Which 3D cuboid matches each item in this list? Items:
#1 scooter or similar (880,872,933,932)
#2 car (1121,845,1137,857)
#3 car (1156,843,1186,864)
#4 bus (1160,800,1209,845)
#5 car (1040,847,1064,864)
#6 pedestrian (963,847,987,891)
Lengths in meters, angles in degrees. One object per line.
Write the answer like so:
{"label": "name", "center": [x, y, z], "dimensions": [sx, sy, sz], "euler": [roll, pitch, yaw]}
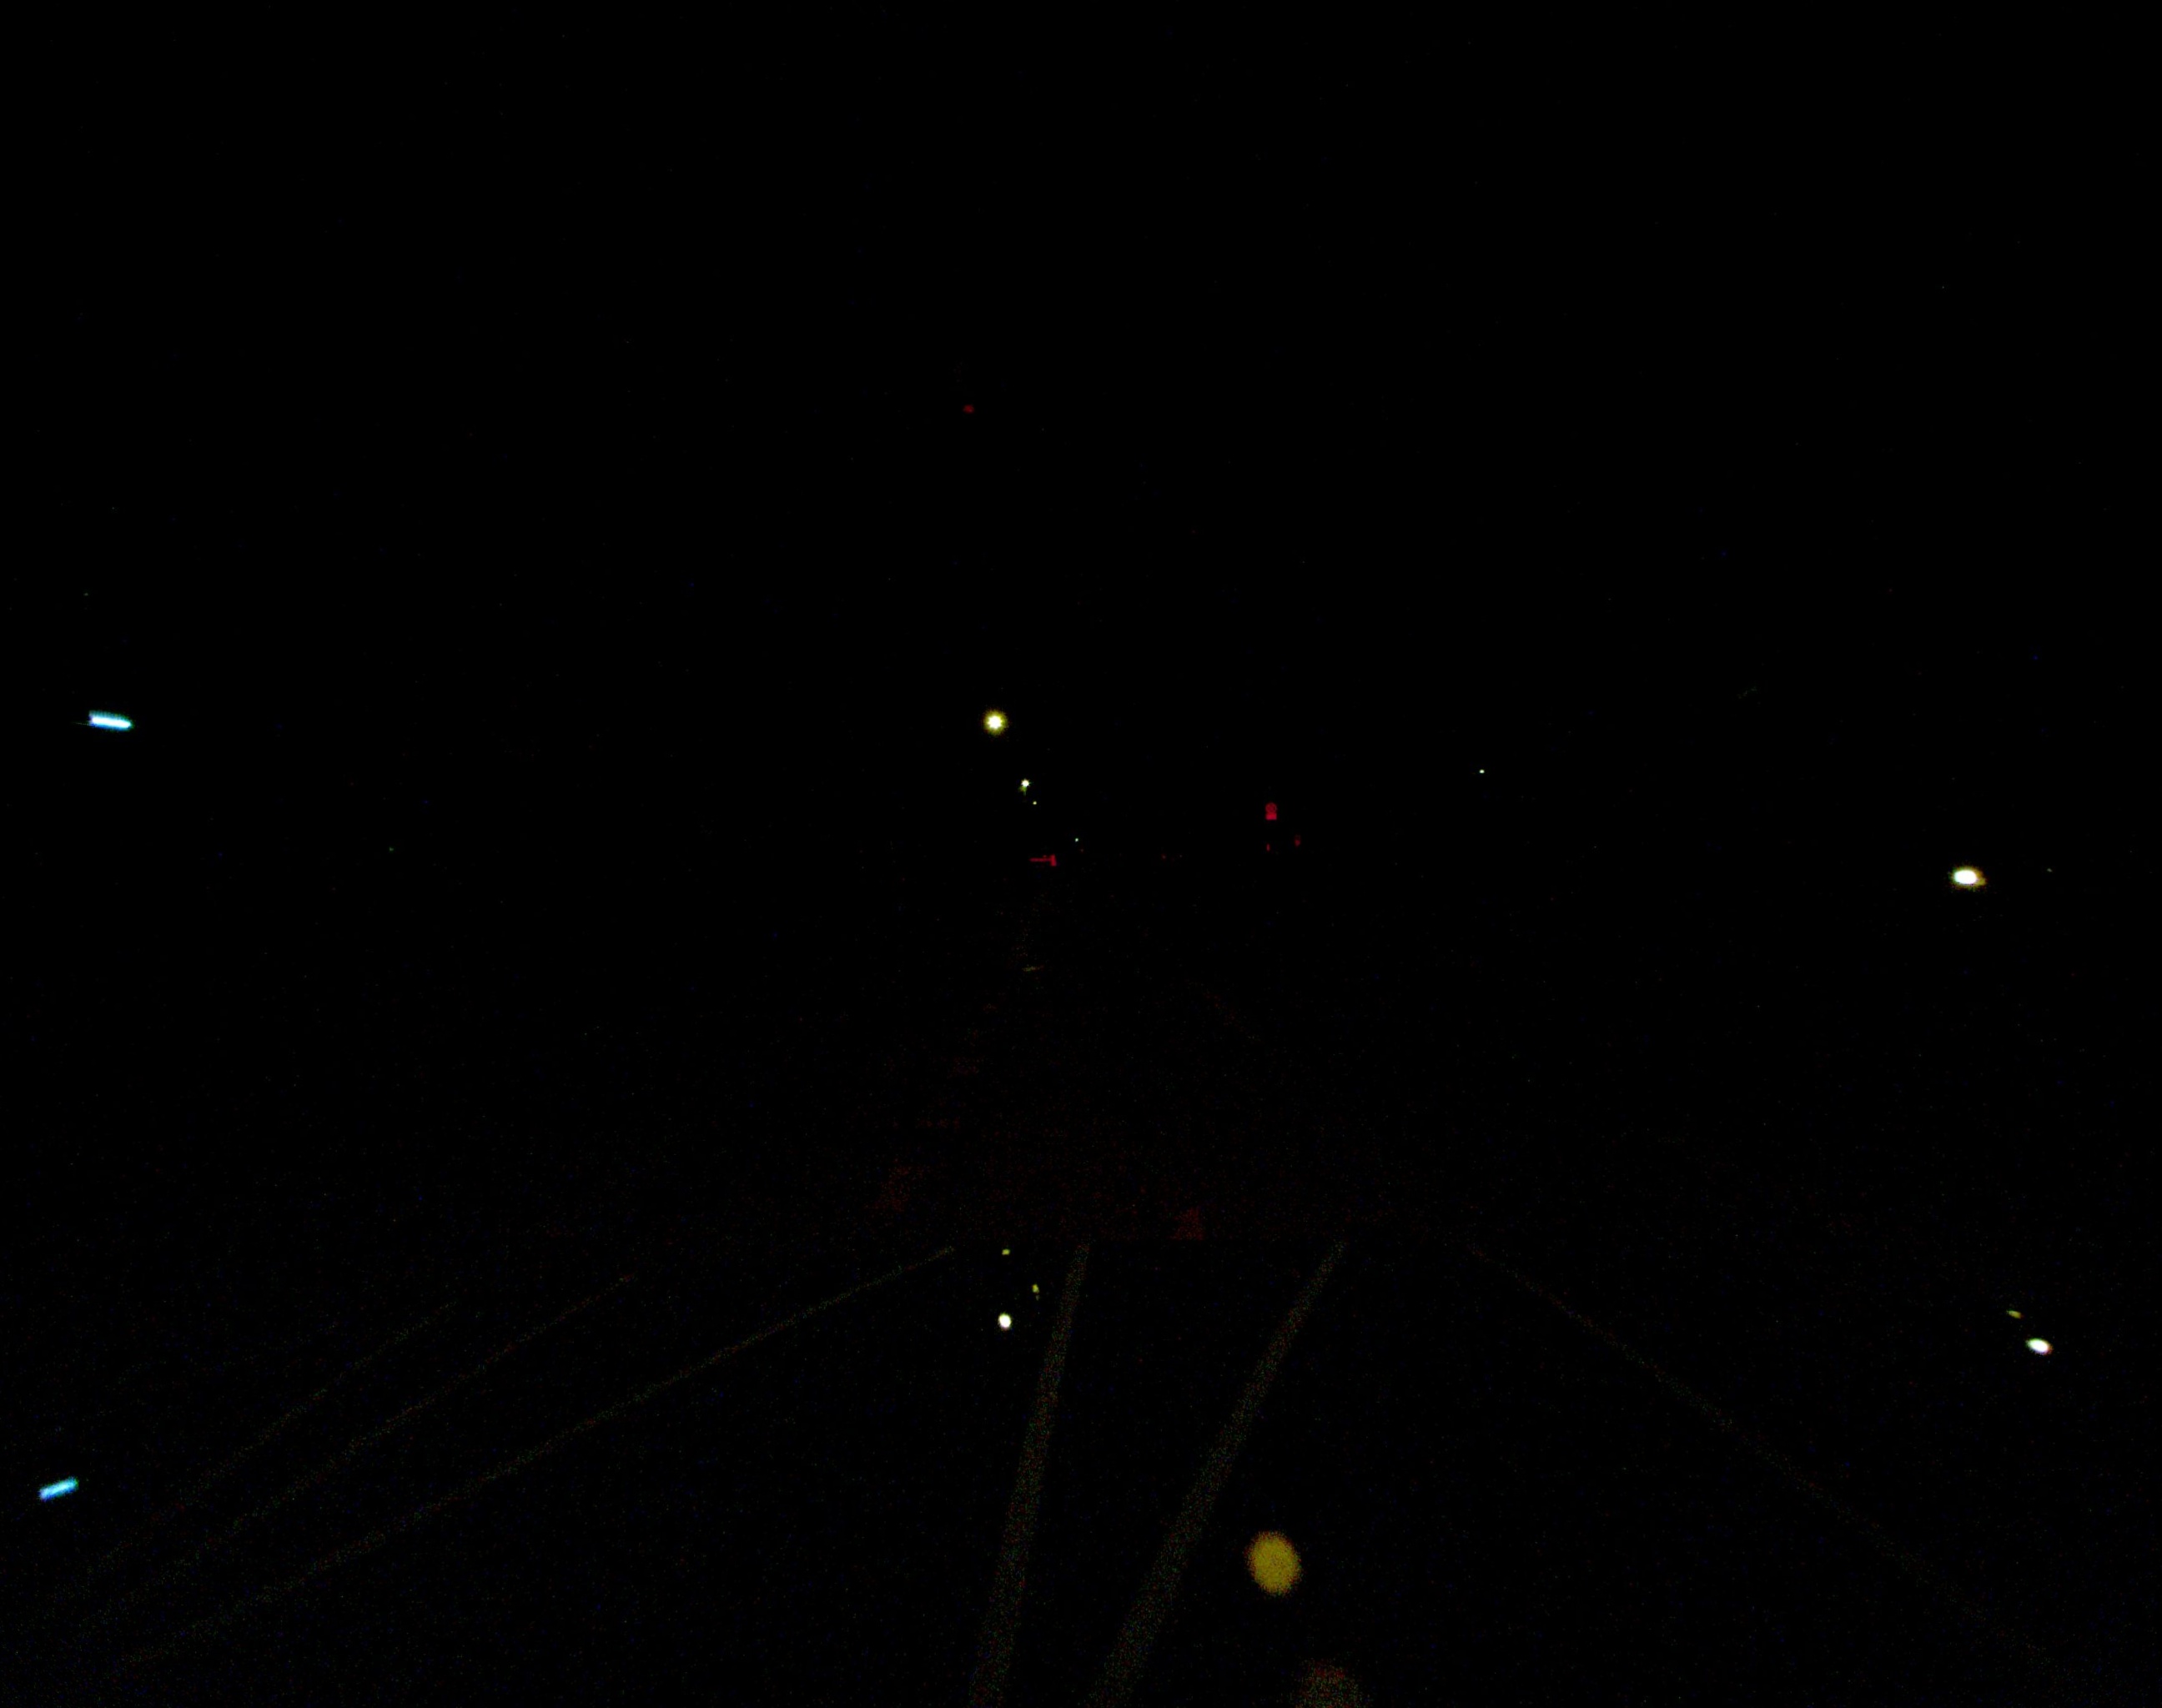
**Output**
{"label": "scooter or similar", "center": [-3.681, 0.999, 16.082], "dimensions": [0.468, 1.195, 1.137], "euler": [-2, 0, 24]}
{"label": "car", "center": [6.303, -0.468, 100.410], "dimensions": [1.863, 1.484, 4.080], "euler": [-2, 1, 1]}
{"label": "car", "center": [7.163, -0.060, 60.747], "dimensions": [1.806, 1.583, 3.999], "euler": [-2, 1, -2]}
{"label": "bus", "center": [17.353, -5.175, 129.143], "dimensions": [6.135, 6.898, 14.781], "euler": [-2, 1, 1]}
{"label": "car", "center": [-2.939, 0.110, 78.154], "dimensions": [1.998, 1.638, 4.000], "euler": [1, 1, 4]}
{"label": "pedestrian", "center": [-4.630, 0.634, 33.211], "dimensions": [0.819, 1.854, 1.034], "euler": [-2, 1, 1]}
